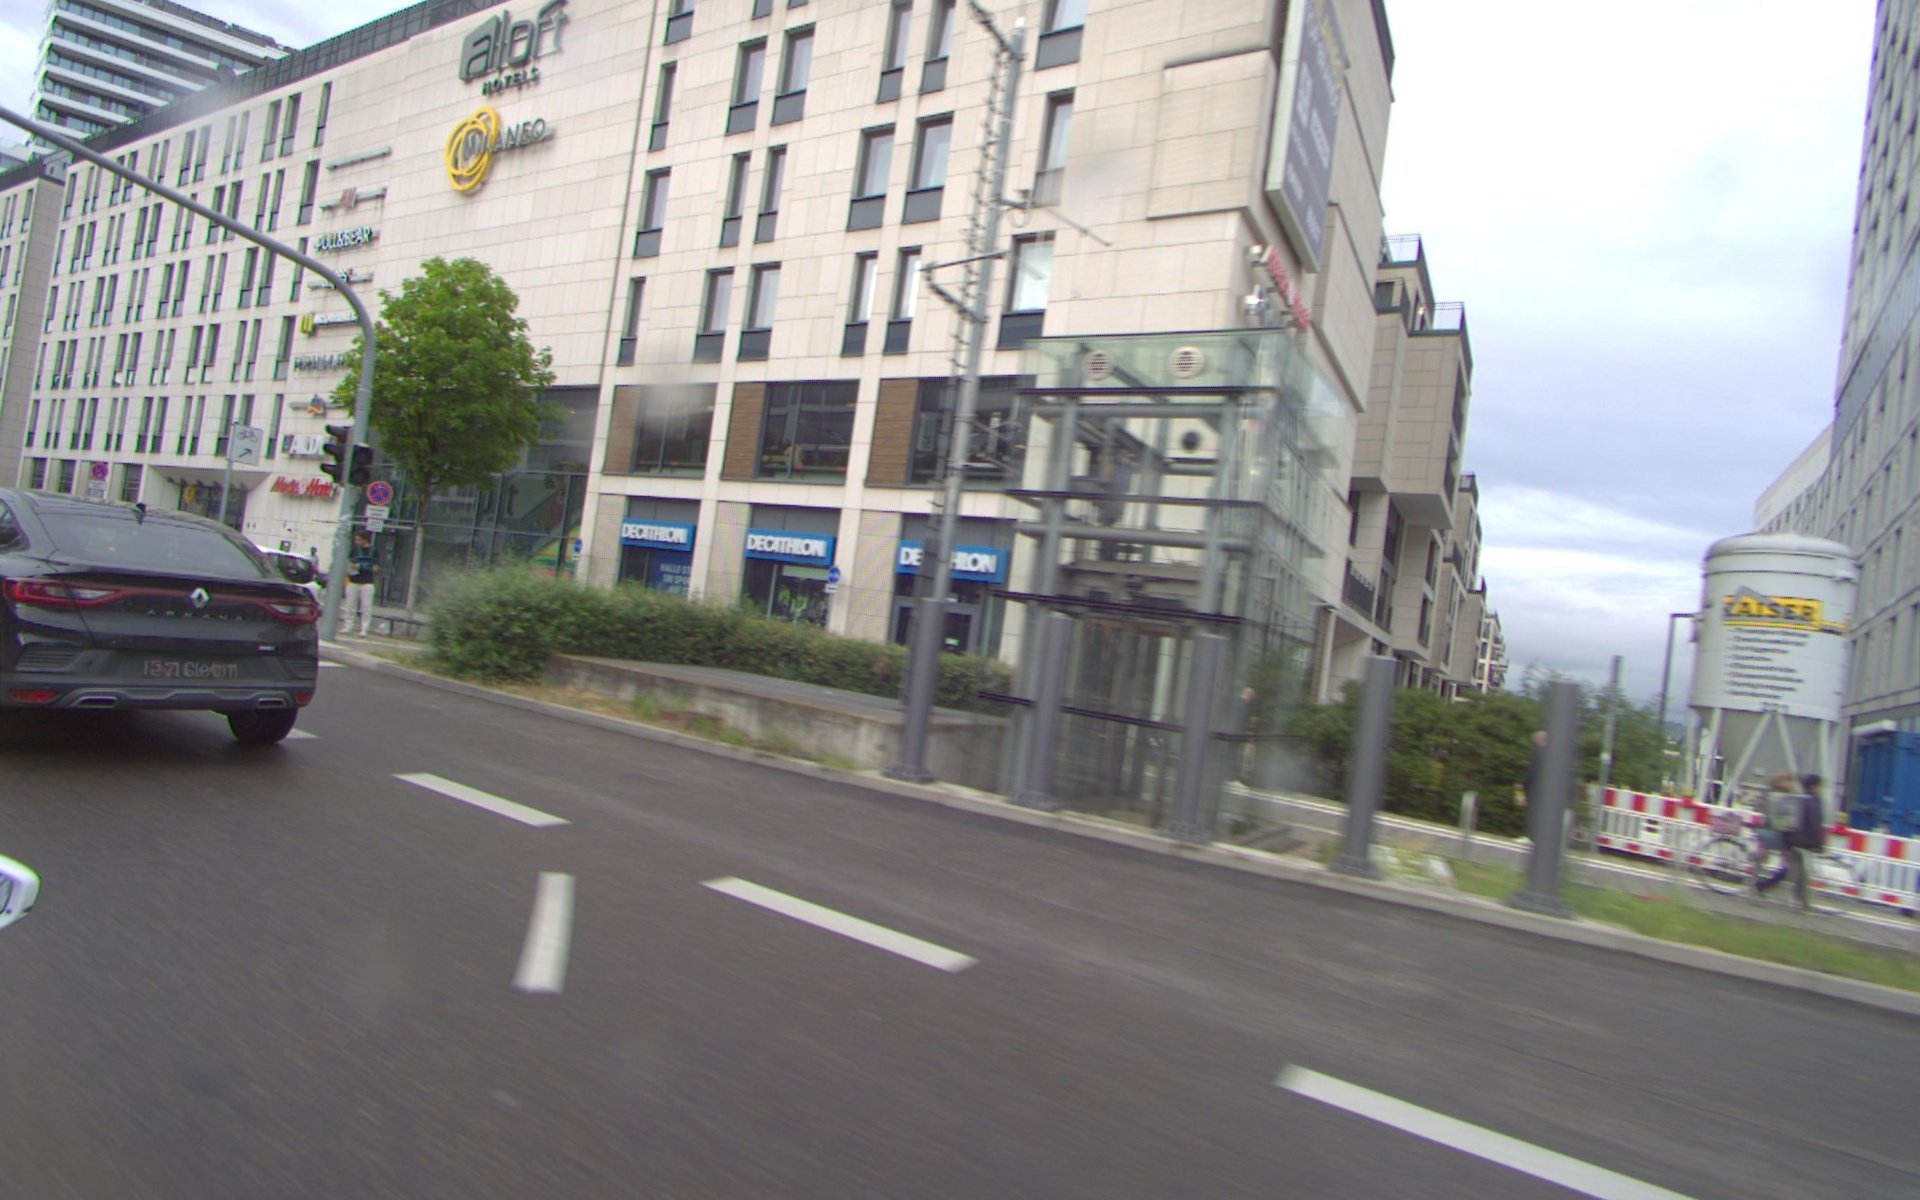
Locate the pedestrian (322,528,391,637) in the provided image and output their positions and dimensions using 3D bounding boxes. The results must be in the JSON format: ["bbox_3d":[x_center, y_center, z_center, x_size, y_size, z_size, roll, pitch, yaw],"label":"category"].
[{"bbox_3d":[-10.829,-0.309,18.069,0.502,1.854,0.728,6,-1,31],"label":"pedestrian"}]

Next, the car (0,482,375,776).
[{"bbox_3d":[-6.301,0.016,7.123,4.266,1.524,1.794,7,-1,31],"label":"car"}]

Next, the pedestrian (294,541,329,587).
[{"bbox_3d":[-23.579,-1.300,36.585,0.714,1.546,0.675,6,-1,31],"label":"pedestrian"}]

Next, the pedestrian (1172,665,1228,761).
[{"bbox_3d":[4.410,2.068,18.492,0.590,1.661,0.583,7,-1,-34],"label":"pedestrian"}]

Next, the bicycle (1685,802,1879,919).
[{"bbox_3d":[10.076,3.175,12.402,1.711,1.028,0.450,6,-1,25],"label":"bicycle"}]

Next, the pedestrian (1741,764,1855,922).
[{"bbox_3d":[9.803,2.811,11.800,0.805,1.630,0.614,6,-1,32],"label":"pedestrian"}]

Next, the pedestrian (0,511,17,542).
[{"bbox_3d":[-51.451,-3.977,54.146,0.714,1.546,0.675,6,-1,31],"label":"pedestrian"}]

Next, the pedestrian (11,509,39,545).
[{"bbox_3d":[-44.230,-3.446,47.604,0.714,1.546,0.675,6,-1,31],"label":"pedestrian"}]

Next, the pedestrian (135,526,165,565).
[{"bbox_3d":[-35.567,-2.391,44.166,0.714,1.546,0.675,6,-1,31],"label":"pedestrian"}]

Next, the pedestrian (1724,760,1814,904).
[{"bbox_3d":[10.257,2.916,12.776,0.687,1.630,0.551,6,-1,32],"label":"pedestrian"}]

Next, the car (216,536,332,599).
[{"bbox_3d":[-18.073,-0.859,26.460,3.452,1.280,1.506,6,-2,39],"label":"car"}]

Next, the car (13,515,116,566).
[{"bbox_3d":[-29.501,-1.973,33.121,3.444,1.280,1.509,6,-2,32],"label":"car"}]

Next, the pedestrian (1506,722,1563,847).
[{"bbox_3d":[8.860,2.821,15.525,0.585,1.801,0.440,6,-1,31],"label":"pedestrian"}]
